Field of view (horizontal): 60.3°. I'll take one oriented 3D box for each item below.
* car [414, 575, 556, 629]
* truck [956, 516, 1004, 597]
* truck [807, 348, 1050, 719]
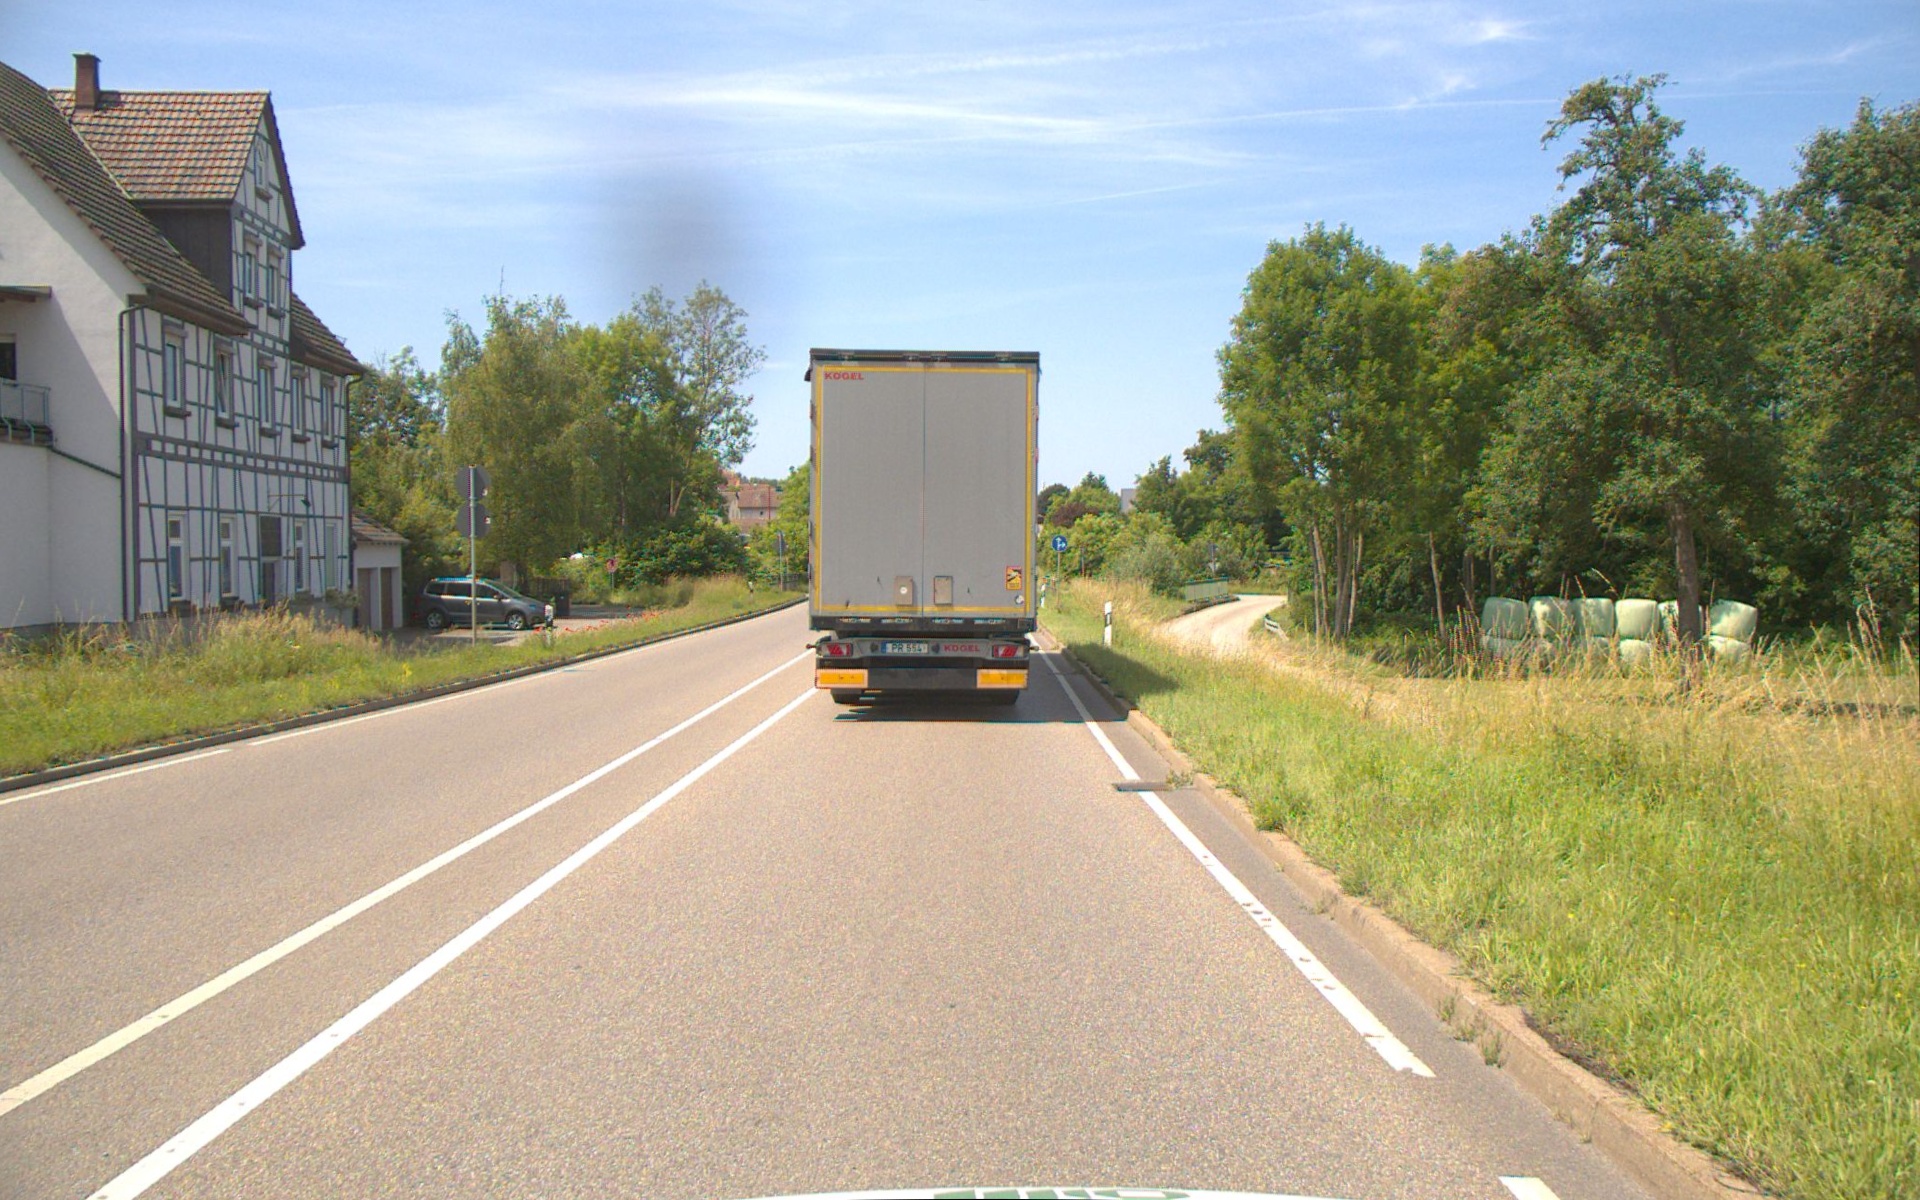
[{"bbox_3d":[-16.970,0.060,59.264,4.571,1.750,1.861,1,3,-4],"label":"car"},{"bbox_3d":[1.162,-2.554,102.091,2.592,4.681,10.815,1,0,-1],"label":"truck"},{"bbox_3d":[-0.371,-0.772,22.261,2.593,3.985,8.824,0,1,0],"label":"truck"}]
